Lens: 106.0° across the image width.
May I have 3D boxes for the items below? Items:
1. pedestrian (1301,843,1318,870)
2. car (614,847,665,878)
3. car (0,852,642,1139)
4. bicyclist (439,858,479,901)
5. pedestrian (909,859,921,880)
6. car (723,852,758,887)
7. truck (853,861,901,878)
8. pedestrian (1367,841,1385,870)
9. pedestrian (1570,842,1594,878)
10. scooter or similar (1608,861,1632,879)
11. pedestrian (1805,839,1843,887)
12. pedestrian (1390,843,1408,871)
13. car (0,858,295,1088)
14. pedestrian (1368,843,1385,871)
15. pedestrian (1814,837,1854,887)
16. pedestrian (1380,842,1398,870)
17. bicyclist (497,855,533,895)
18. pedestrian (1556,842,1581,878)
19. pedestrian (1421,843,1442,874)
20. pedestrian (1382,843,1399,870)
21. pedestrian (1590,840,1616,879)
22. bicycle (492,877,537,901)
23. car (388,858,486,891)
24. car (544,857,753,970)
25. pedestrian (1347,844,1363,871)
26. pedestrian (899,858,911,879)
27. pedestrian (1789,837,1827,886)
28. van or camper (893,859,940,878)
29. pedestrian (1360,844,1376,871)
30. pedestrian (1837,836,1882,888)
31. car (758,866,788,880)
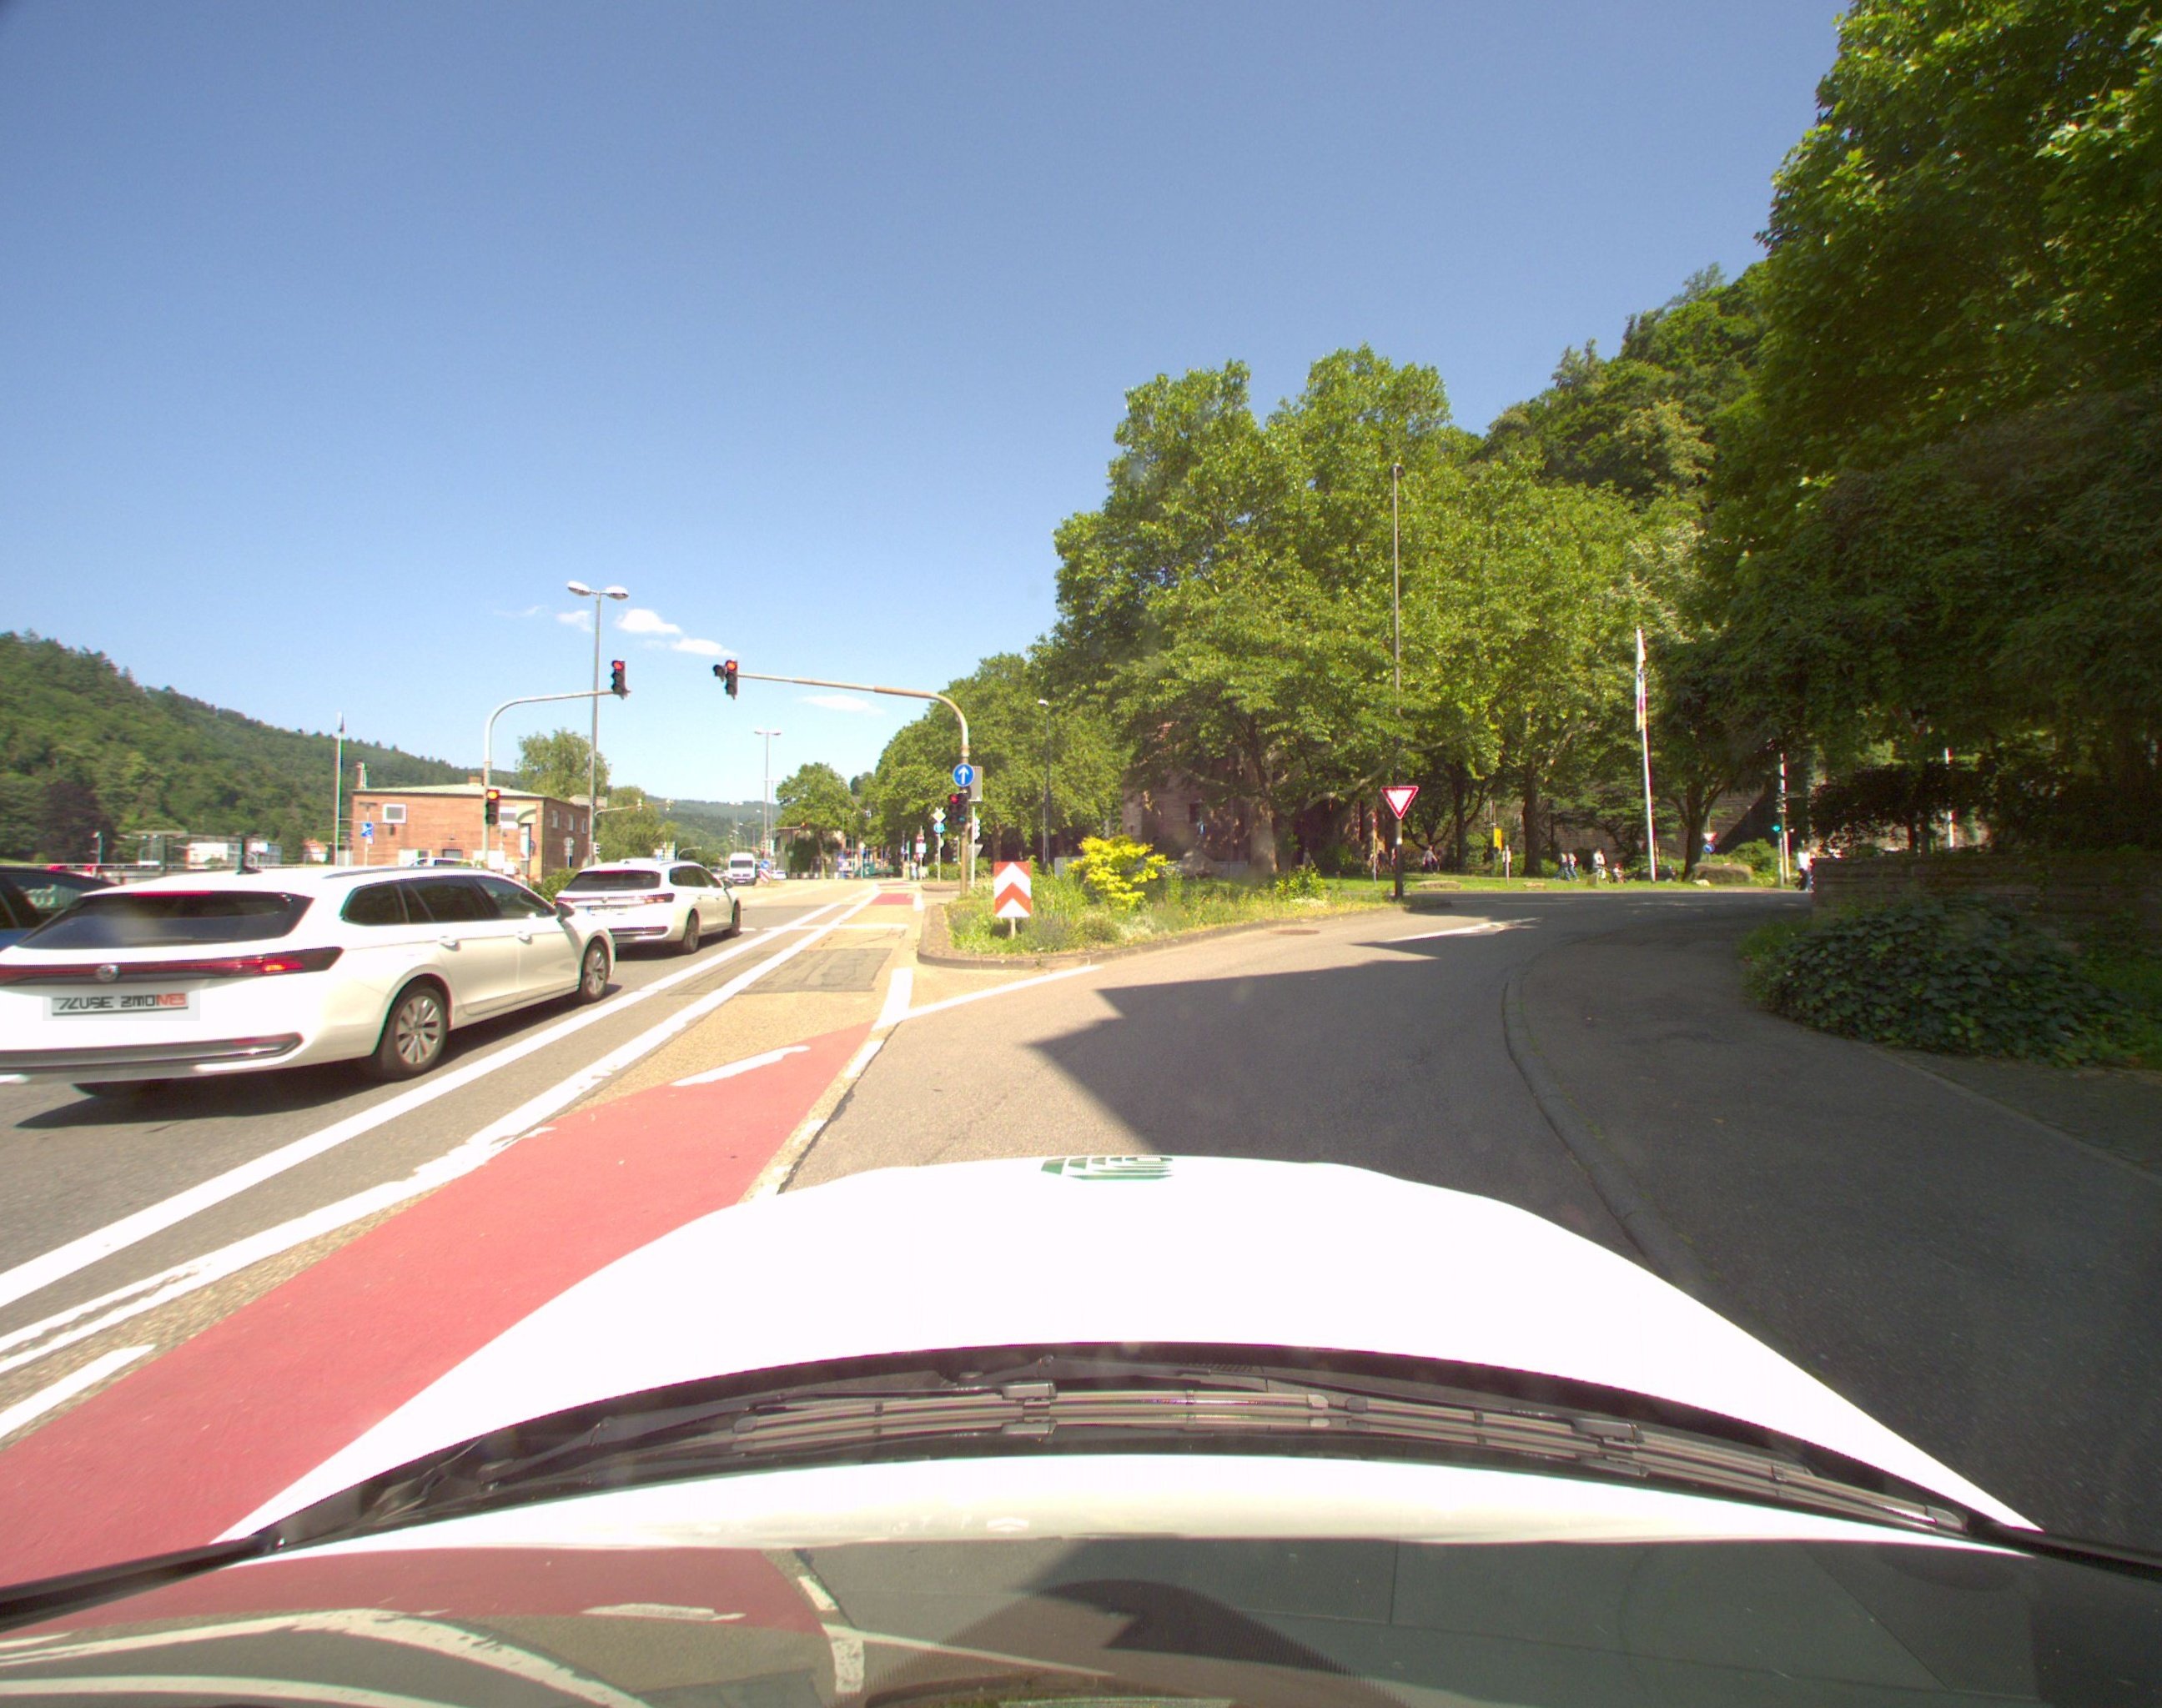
[{"bbox_3d":[15.678,0.164,55.871,0.794,1.782,0.871,-1,0,-14],"label":"pedestrian"},{"bbox_3d":[-30.909,0.566,57.160,2.220,2.078,5.013,-1,0,-17],"label":"car"},{"bbox_3d":[-5.757,0.767,6.911,1.993,1.533,4.844,-1,0,-8],"label":"car"},{"bbox_3d":[-30.473,1.242,39.905,1.215,2.013,1.112,-1,0,-18],"label":"bicyclist"},{"bbox_3d":[-13.764,1.286,67.471,0.759,1.708,0.877,-1,0,-2],"label":"pedestrian"},{"bbox_3d":[-27.105,1.191,64.671,2.394,2.576,6.007,-1,0,-24],"label":"car"},{"bbox_3d":[-25.422,1.975,101.325,6.190,2.013,2.178,-1,0,33],"label":"truck"},{"bbox_3d":[18.533,0.096,51.120,0.794,1.756,0.662,1,-1,-15],"label":"pedestrian"},{"bbox_3d":[24.957,0.291,40.592,0.794,1.756,0.662,1,-1,-15],"label":"pedestrian"},{"bbox_3d":[24.009,0.712,36.260,0.572,0.812,0.725,-1,0,-38],"label":"scooter or similar"},{"bbox_3d":[27.782,0.333,30.464,0.763,1.756,0.758,1,-1,-15],"label":"pedestrian"},{"bbox_3d":[20.303,0.197,52.020,0.794,1.756,0.662,1,-1,-15],"label":"pedestrian"},{"bbox_3d":[-8.459,0.845,5.989,1.866,1.562,3.987,-1,0,-9],"label":"car"},{"bbox_3d":[19.128,0.185,52.662,0.794,1.756,0.662,1,-1,-15],"label":"pedestrian"},{"bbox_3d":[27.065,0.275,29.272,0.763,1.756,0.758,1,-1,-15],"label":"pedestrian"},{"bbox_3d":[19.372,0.133,51.211,0.794,1.756,0.662,1,-1,-15],"label":"pedestrian"},{"bbox_3d":[-29.582,1.079,42.583,1.215,2.013,1.112,-1,0,-18],"label":"bicyclist"},{"bbox_3d":[24.168,0.274,40.393,0.794,1.756,0.662,1,0,-15],"label":"pedestrian"},{"bbox_3d":[19.798,0.255,45.956,0.794,1.756,0.719,1,-1,-15],"label":"pedestrian"},{"bbox_3d":[20.134,0.179,52.937,0.794,1.756,0.662,1,-1,-15],"label":"pedestrian"},{"bbox_3d":[23.670,0.239,36.926,0.768,1.756,0.754,-1,0,-38],"label":"pedestrian"},{"bbox_3d":[-29.567,1.811,42.540,1.216,1.090,2.582,-1,0,-18],"label":"bicycle"},{"bbox_3d":[-41.419,1.281,52.441,1.974,2.013,4.647,-1,0,40],"label":"car"},{"bbox_3d":[-7.078,0.854,13.927,1.786,1.532,4.719,-1,0,-11],"label":"car"},{"bbox_3d":[18.340,0.251,54.475,0.794,1.756,0.662,1,-1,-15],"label":"pedestrian"},{"bbox_3d":[-14.576,1.187,67.404,0.759,1.719,0.794,-1,0,-2],"label":"pedestrian"},{"bbox_3d":[26.974,0.279,30.215,0.763,1.756,0.758,1,-1,-15],"label":"pedestrian"},{"bbox_3d":[-18.027,1.580,89.258,4.515,1.902,2.005,-1,0,8],"label":"van or camper"},{"bbox_3d":[19.298,0.248,54.750,0.794,1.756,0.662,1,-1,-15],"label":"pedestrian"},{"bbox_3d":[27.149,0.277,28.408,0.801,1.756,0.863,1,-1,-15],"label":"pedestrian"},{"bbox_3d":[-44.497,2.762,117.652,3.950,2.013,1.954,-1,0,26],"label":"car"}]
